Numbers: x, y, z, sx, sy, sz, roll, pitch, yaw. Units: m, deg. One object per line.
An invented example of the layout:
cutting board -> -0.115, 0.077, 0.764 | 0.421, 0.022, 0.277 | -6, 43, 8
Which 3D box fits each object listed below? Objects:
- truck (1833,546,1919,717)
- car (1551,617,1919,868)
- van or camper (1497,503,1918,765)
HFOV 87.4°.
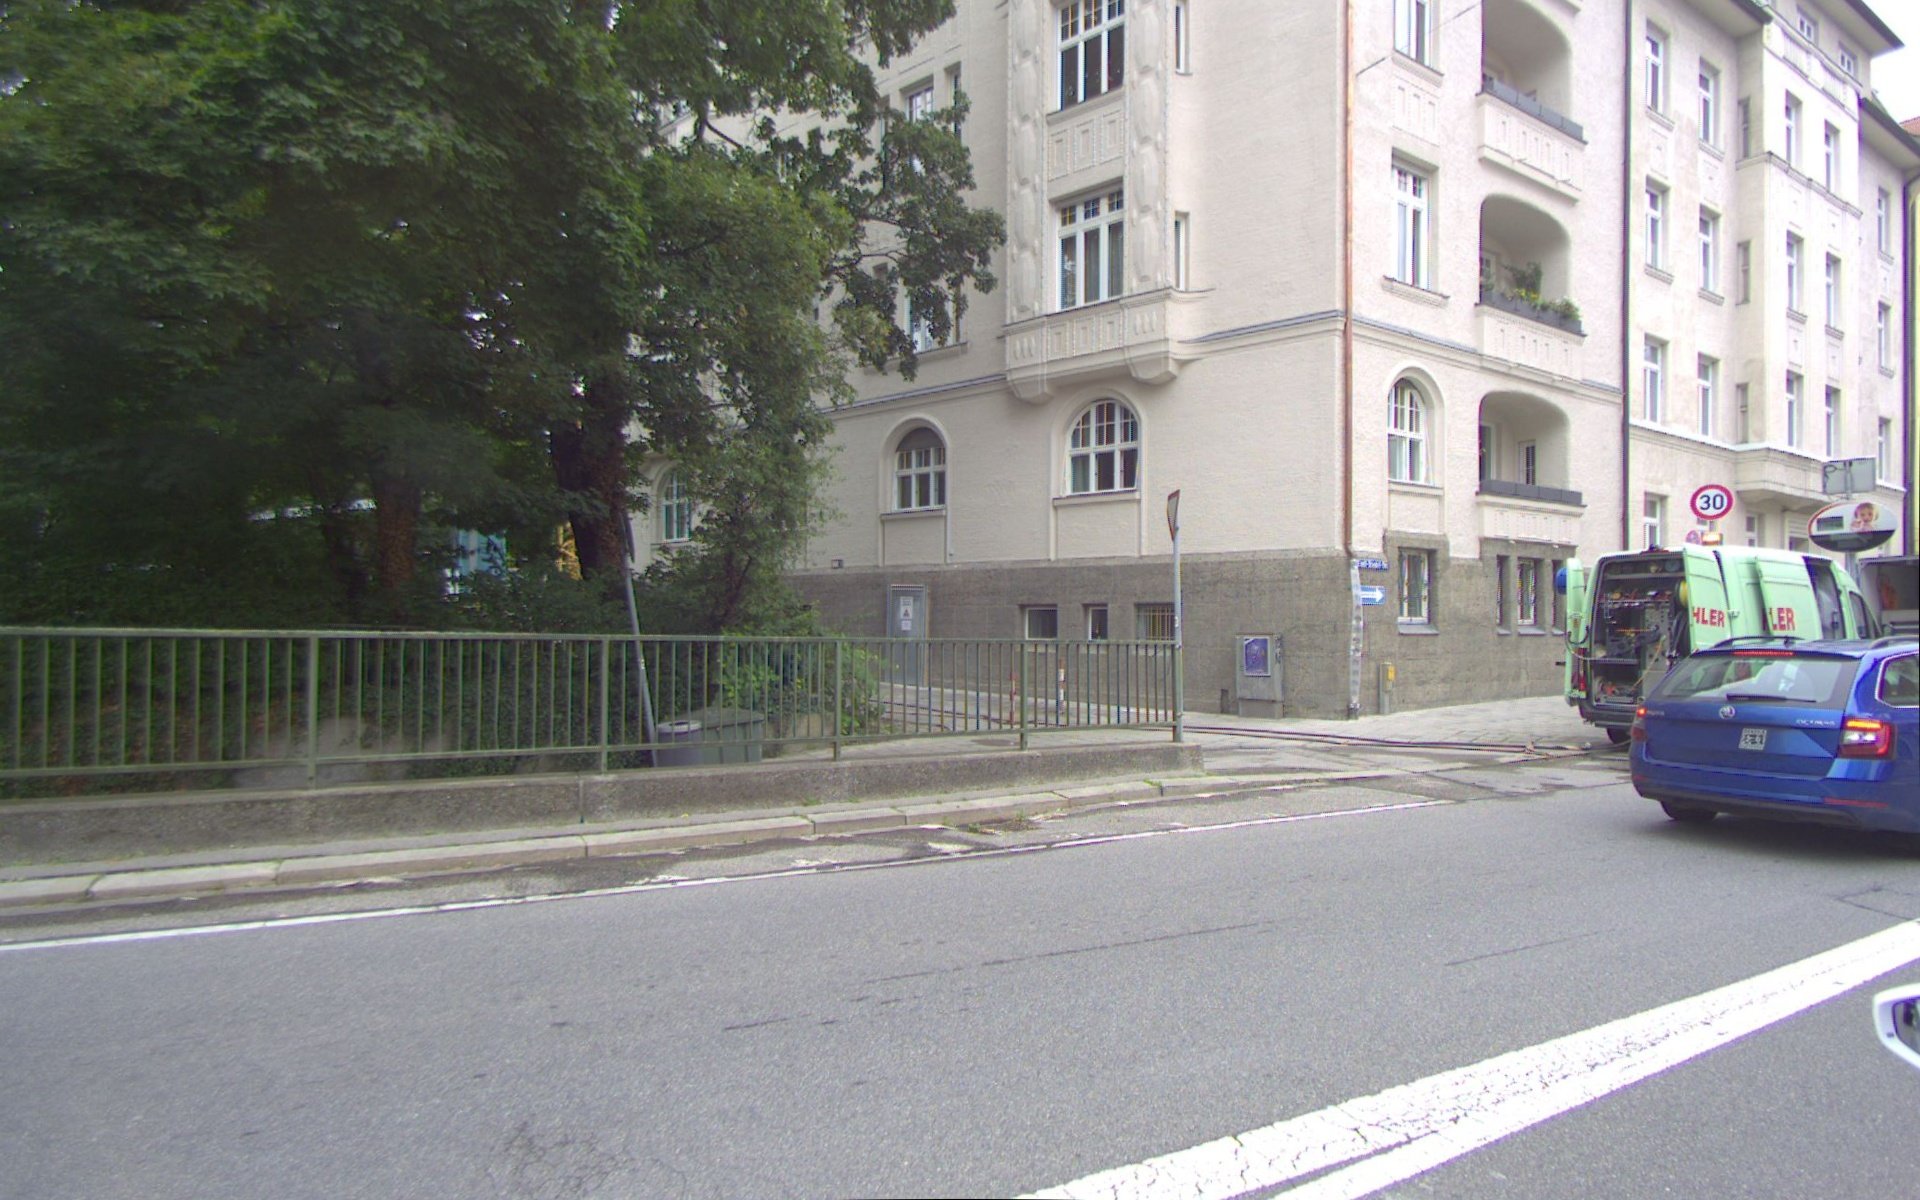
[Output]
truck -> 19.408, 0.546, 18.788 | 7.122, 2.911, 2.758 | 0, -1, -33
car -> 7.075, 0.931, 7.806 | 4.669, 1.473, 1.982 | 2, -2, -24
van or camper -> 10.347, 0.405, 13.763 | 6.116, 2.878, 2.587 | 0, -1, -32
